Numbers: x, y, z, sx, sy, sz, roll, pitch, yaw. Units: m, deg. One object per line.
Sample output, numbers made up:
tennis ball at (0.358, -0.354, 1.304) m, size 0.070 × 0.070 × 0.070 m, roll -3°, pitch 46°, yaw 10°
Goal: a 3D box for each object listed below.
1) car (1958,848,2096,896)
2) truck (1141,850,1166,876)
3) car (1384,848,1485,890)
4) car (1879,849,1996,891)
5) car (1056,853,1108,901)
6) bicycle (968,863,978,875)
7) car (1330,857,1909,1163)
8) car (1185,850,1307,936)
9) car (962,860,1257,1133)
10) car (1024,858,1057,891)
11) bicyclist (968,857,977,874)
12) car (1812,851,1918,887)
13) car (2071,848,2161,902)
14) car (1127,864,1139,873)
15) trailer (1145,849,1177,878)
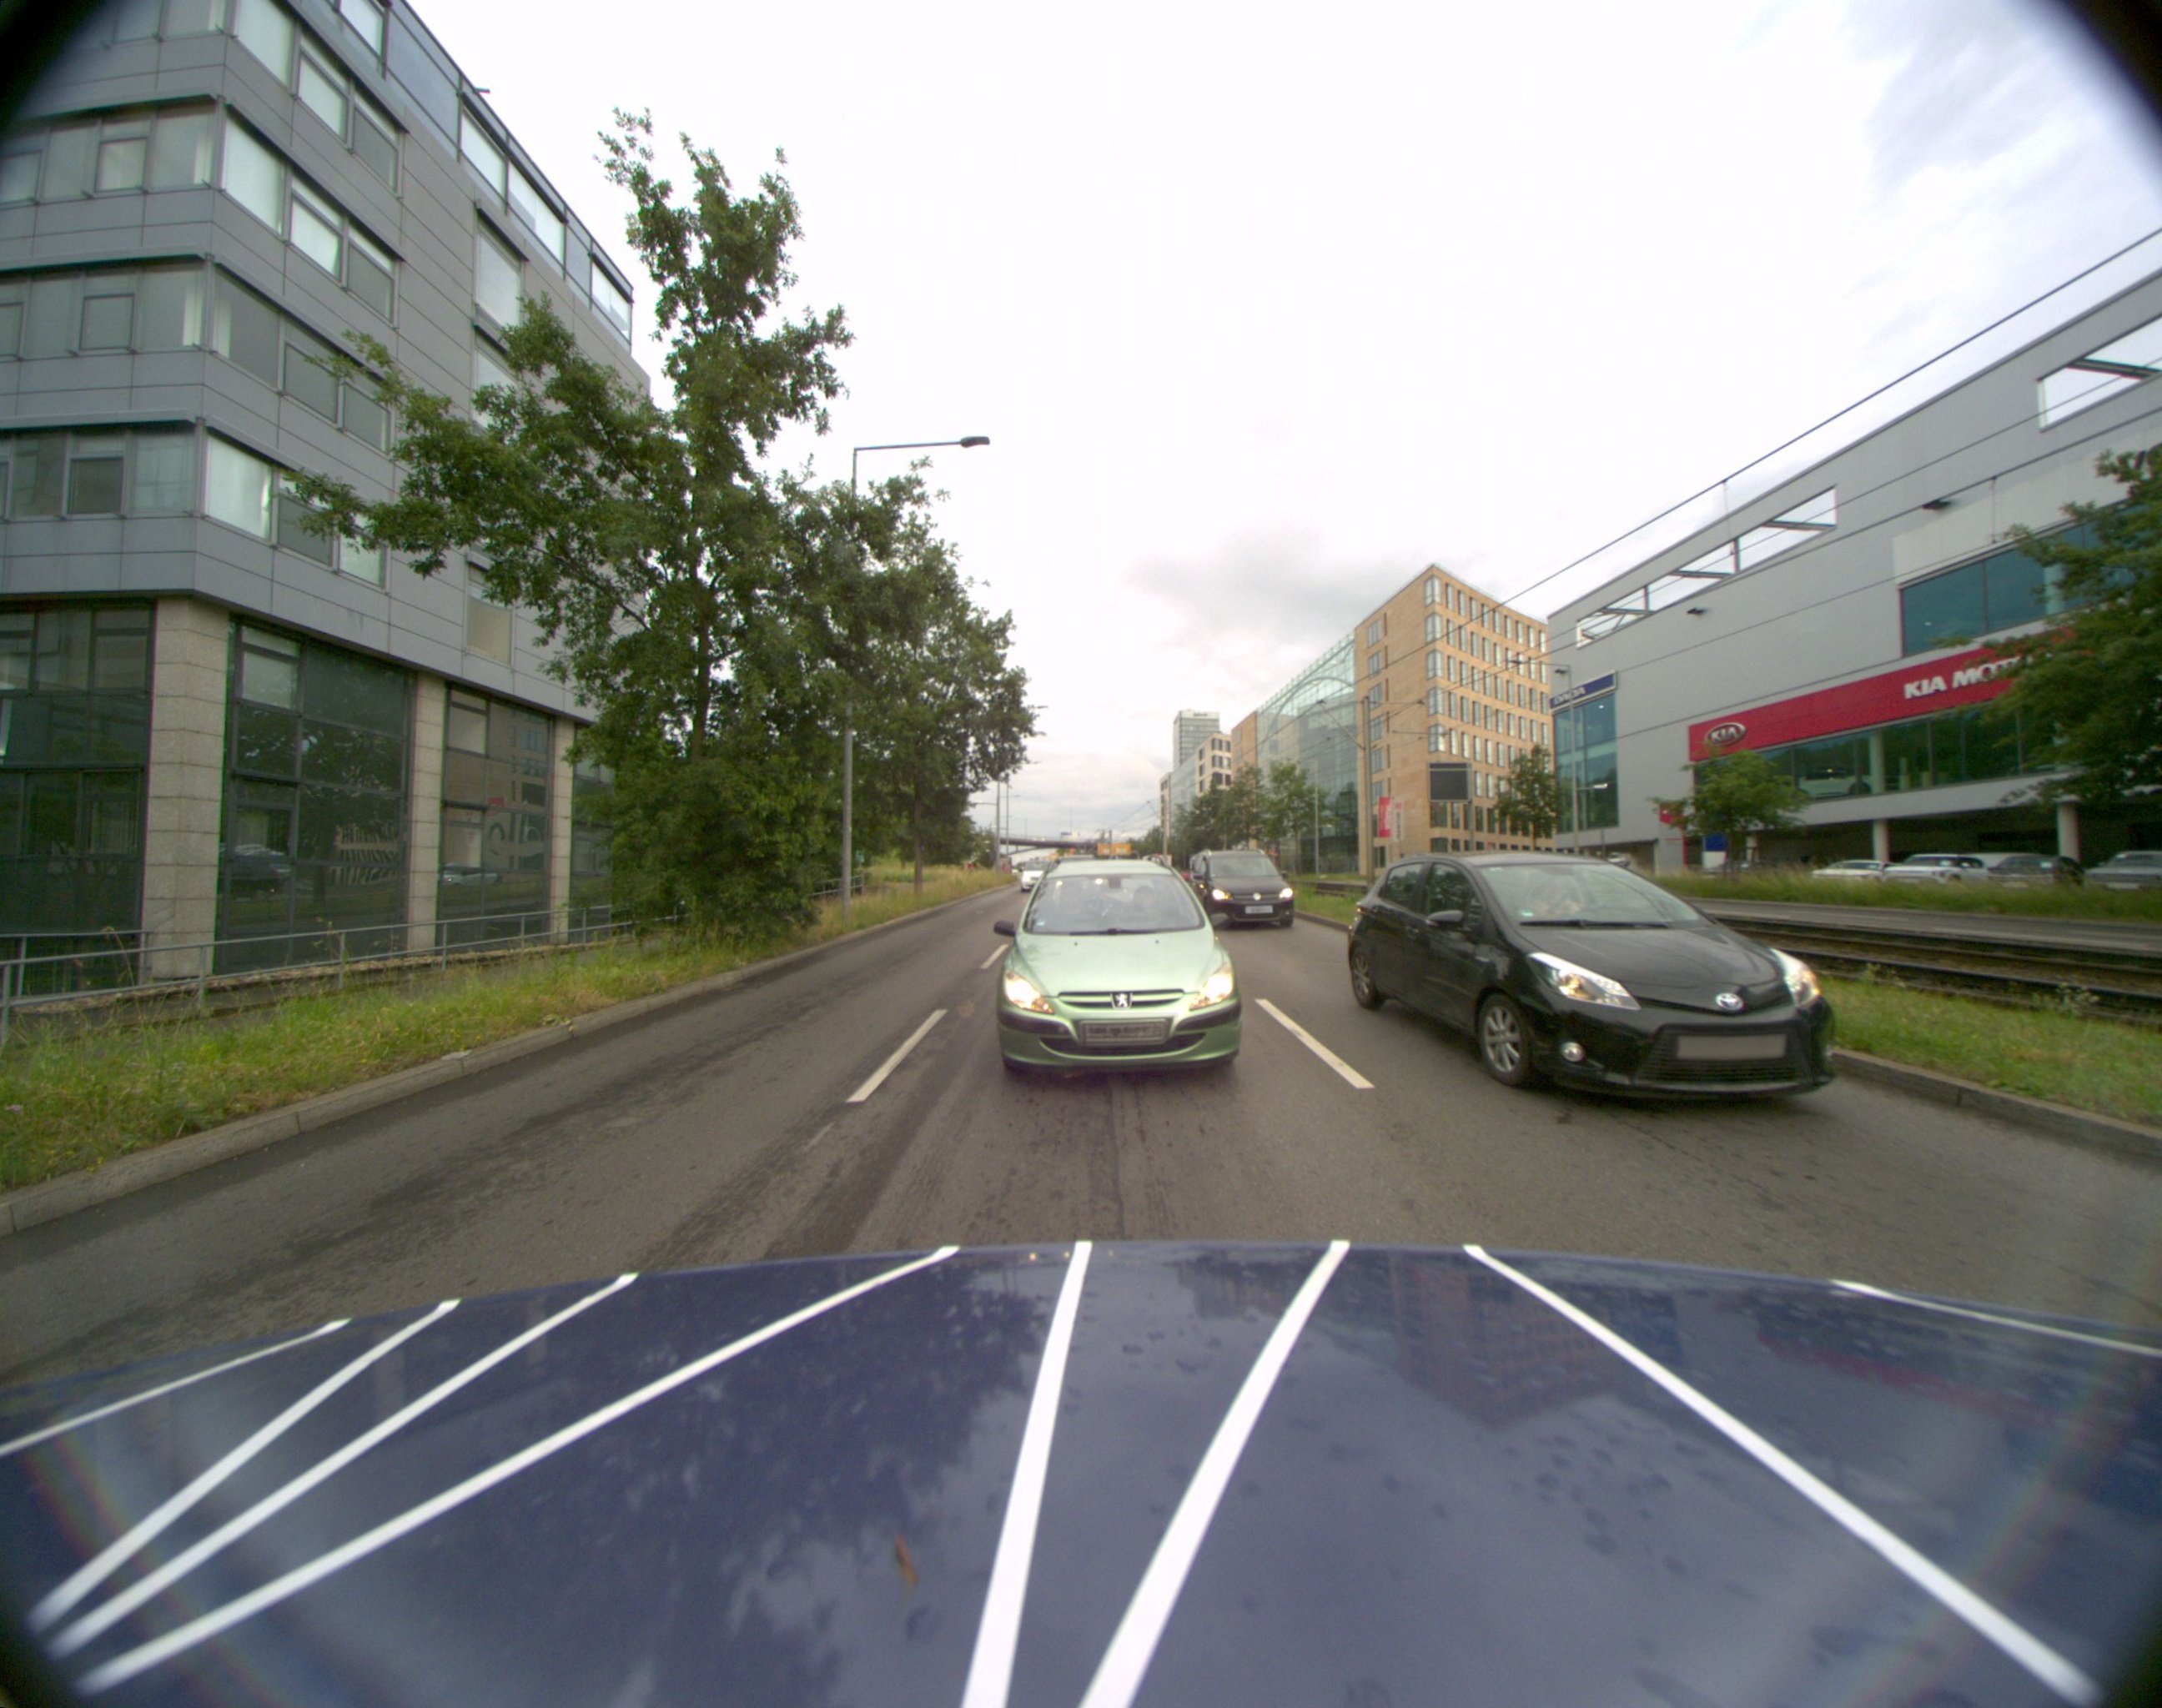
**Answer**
car at (31.597, 0.580, 25.389) m, size 3.528 × 1.344 × 1.696 m, roll -4°, pitch 1°, yaw -17°
truck at (12.589, 1.553, 132.122) m, size 3.144 × 4.219 × 7.026 m, roll 2°, pitch 0°, yaw -3°
car at (15.502, 0.628, 33.674) m, size 1.999 × 1.709 × 4.839 m, roll 1°, pitch 0°, yaw -3°
car at (31.758, 0.572, 28.171) m, size 3.668 × 1.287 × 1.696 m, roll -4°, pitch 1°, yaw -22°
car at (0.003, 0.793, 28.455) m, size 1.759 × 1.649 × 4.337 m, roll -1°, pitch 0°, yaw -1°
bicycle at (-10.085, 1.419, 70.815) m, size 0.582 × 1.082 × 1.906 m, roll -2°, pitch 0°, yaw 1°
car at (3.419, 0.812, 5.842) m, size 1.704 × 1.523 × 3.826 m, roll -1°, pitch 0°, yaw -1°
car at (3.475, 0.755, 16.821) m, size 1.786 × 1.597 × 4.317 m, roll -2°, pitch 0°, yaw 1°
car at (0.171, 0.859, 6.653) m, size 1.704 × 1.523 × 4.371 m, roll -1°, pitch 0°, yaw 0°
car at (-1.999, 0.987, 37.436) m, size 1.518 × 1.495 × 3.167 m, roll -1°, pitch 0°, yaw -4°
bicyclist at (-10.080, 1.039, 70.809) m, size 0.647 × 1.569 × 0.855 m, roll -2°, pitch 0°, yaw 1°
car at (31.736, 0.588, 30.776) m, size 3.668 × 1.181 × 1.696 m, roll -4°, pitch 1°, yaw -22°
car at (32.013, 0.600, 22.875) m, size 3.528 × 1.344 × 1.696 m, roll -4°, pitch 1°, yaw -20°
car at (9.173, 2.570, 133.837) m, size 1.655 × 1.428 × 3.878 m, roll -1°, pitch 0°, yaw -3°
trailer at (13.026, 1.493, 124.882) m, size 3.143 × 4.304 × 13.277 m, roll 2°, pitch 0°, yaw -3°
